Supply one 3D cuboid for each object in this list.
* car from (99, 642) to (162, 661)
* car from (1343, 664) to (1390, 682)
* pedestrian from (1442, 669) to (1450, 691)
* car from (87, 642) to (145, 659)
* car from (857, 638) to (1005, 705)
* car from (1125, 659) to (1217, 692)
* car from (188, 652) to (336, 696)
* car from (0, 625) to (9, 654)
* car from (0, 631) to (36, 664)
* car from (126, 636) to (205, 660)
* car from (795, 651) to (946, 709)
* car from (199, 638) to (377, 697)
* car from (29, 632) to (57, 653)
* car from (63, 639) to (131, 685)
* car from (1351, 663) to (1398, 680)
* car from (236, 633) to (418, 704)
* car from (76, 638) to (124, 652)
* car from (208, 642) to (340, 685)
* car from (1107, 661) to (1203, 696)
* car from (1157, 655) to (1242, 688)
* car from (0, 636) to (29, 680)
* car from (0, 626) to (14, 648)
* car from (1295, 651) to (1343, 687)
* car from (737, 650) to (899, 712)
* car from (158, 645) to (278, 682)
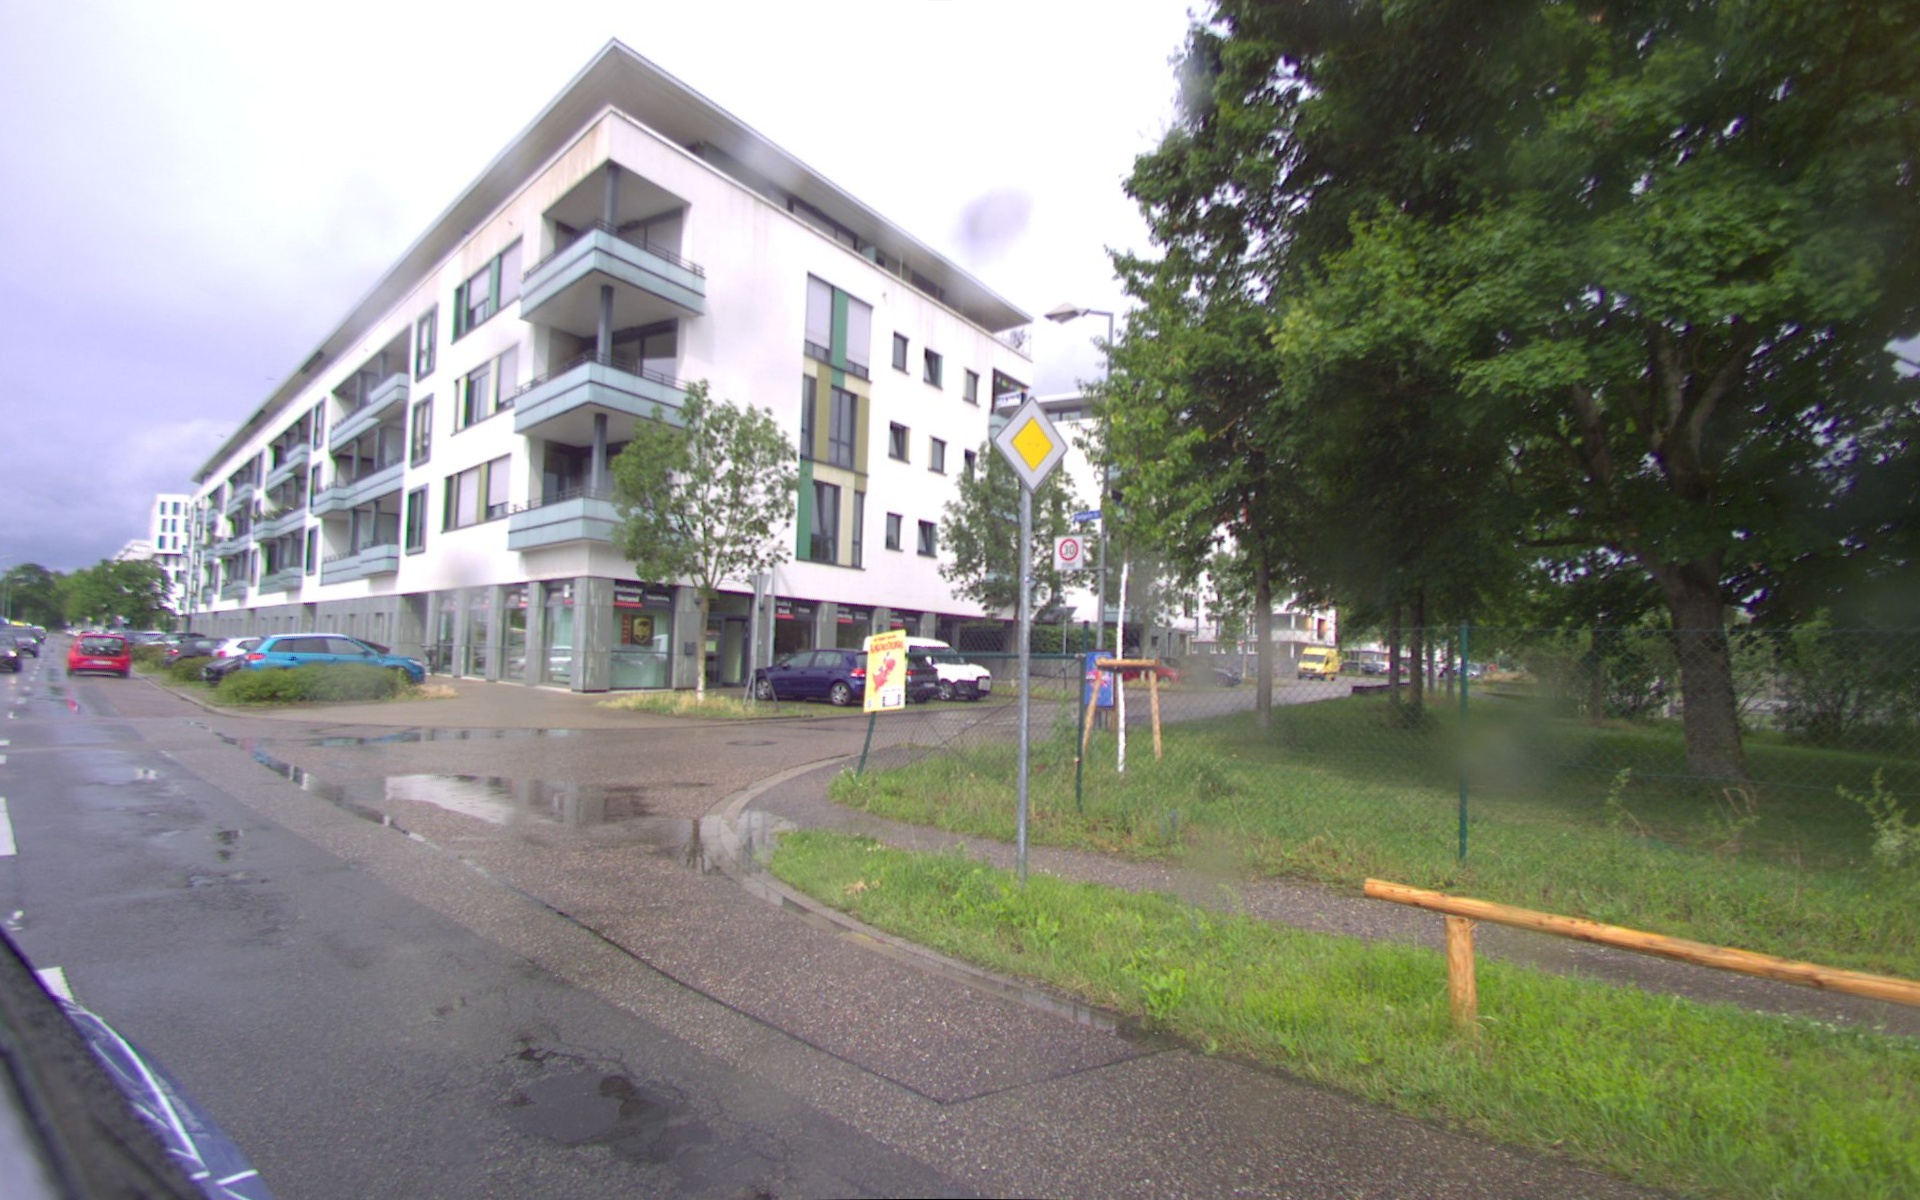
[{"bbox_3d":[-65.187,3.996,79.547,3.744,1.381,1.746,1,-2,-43],"label":"car"},{"bbox_3d":[39.977,7.126,99.565,4.169,1.547,1.626,0,-2,30],"label":"car"},{"bbox_3d":[38.041,6.272,79.229,0.510,1.676,0.489,-1,-4,33],"label":"pedestrian"},{"bbox_3d":[-72.242,4.297,86.670,3.744,1.381,1.746,1,-2,-43],"label":"car"},{"bbox_3d":[-0.931,2.144,31.121,4.333,1.849,1.626,0,-2,30],"label":"car"},{"bbox_3d":[10.497,3.749,50.413,4.169,1.407,1.626,0,-2,30],"label":"car"},{"bbox_3d":[-21.484,2.240,31.218,3.562,1.192,1.541,1,-2,-43],"label":"car"},{"bbox_3d":[-77.196,3.123,80.493,1.969,2.259,4.569,5,-5,-42],"label":"car"},{"bbox_3d":[-53.000,2.632,56.473,1.981,1.718,4.334,5,-5,-42],"label":"car"},{"bbox_3d":[-49.566,2.973,63.203,3.744,1.381,1.746,1,-2,-43],"label":"car"},{"bbox_3d":[-2.586,2.232,28.975,4.113,1.407,1.671,0,-2,30],"label":"car"},{"bbox_3d":[-19.734,1.935,29.828,4.123,1.561,1.861,1,-2,-43],"label":"car"},{"bbox_3d":[-91.815,4.273,101.322,1.970,2.029,4.004,1,-2,-43],"label":"car"},{"bbox_3d":[-29.561,2.100,34.738,1.636,1.479,3.395,4,-4,-39],"label":"car"},{"bbox_3d":[41.585,7.157,101.594,4.169,1.547,1.626,0,-2,30],"label":"car"},{"bbox_3d":[-16.253,1.693,26.085,3.762,1.646,1.758,1,-2,-40],"label":"car"},{"bbox_3d":[-88.526,4.607,104.183,3.744,1.381,1.746,1,-2,-43],"label":"car"},{"bbox_3d":[-24.329,2.235,35.960,1.687,1.388,3.616,-3,-3,44],"label":"car"},{"bbox_3d":[9.178,3.695,47.800,4.169,1.407,1.626,0,-2,30],"label":"car"},{"bbox_3d":[12.796,3.809,54.184,4.169,1.547,1.626,0,-2,30],"label":"car"},{"bbox_3d":[-35.100,2.106,36.691,1.846,1.530,4.363,1,-3,-41],"label":"car"},{"bbox_3d":[-99.881,3.817,105.214,1.969,2.259,4.569,5,-5,-42],"label":"car"},{"bbox_3d":[28.466,5.415,80.065,1.962,2.634,6.562,0,-2,35],"label":"car"},{"bbox_3d":[-3.834,2.106,27.061,4.172,1.407,1.626,0,-2,30],"label":"car"},{"bbox_3d":[-29.606,2.501,40.412,3.686,1.383,1.646,2,-3,-42],"label":"car"}]
